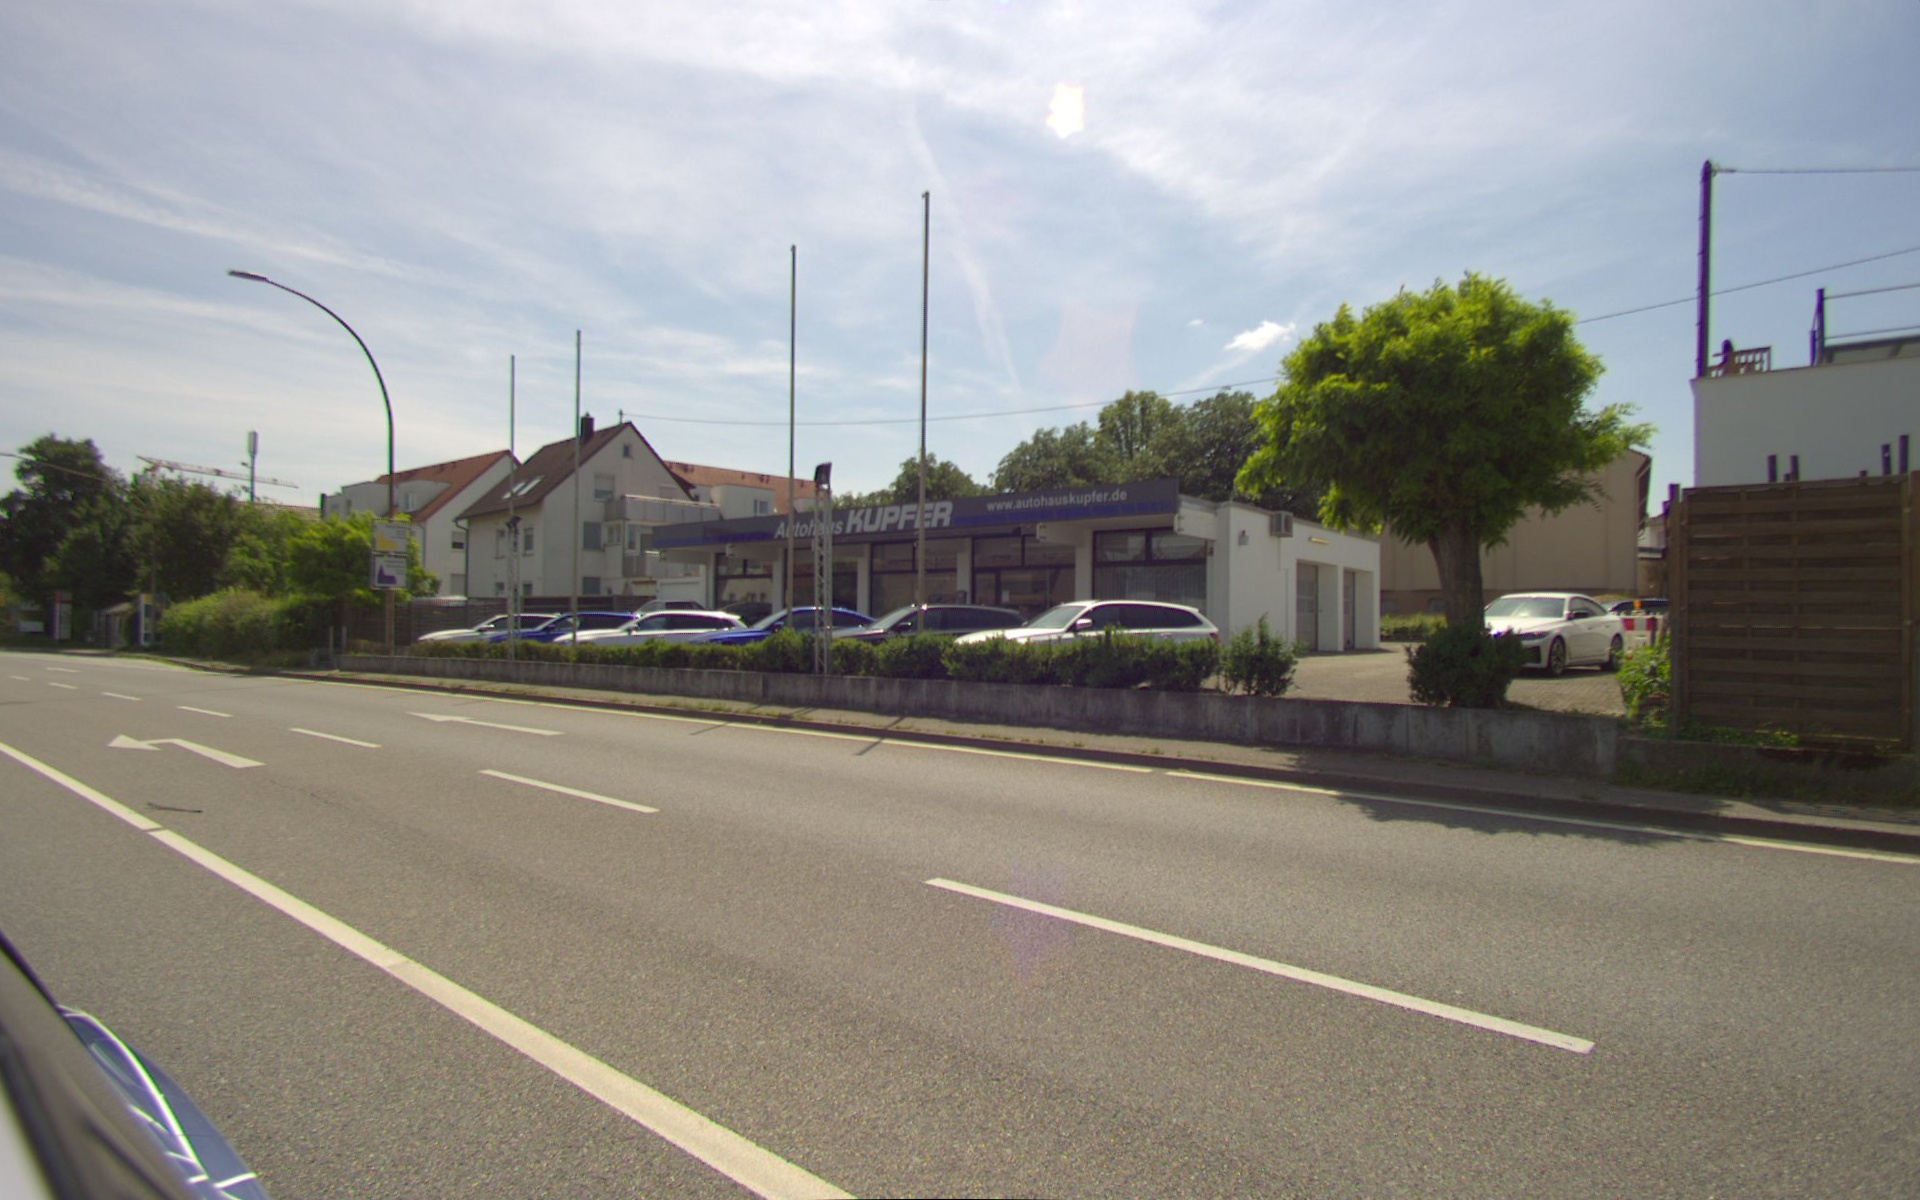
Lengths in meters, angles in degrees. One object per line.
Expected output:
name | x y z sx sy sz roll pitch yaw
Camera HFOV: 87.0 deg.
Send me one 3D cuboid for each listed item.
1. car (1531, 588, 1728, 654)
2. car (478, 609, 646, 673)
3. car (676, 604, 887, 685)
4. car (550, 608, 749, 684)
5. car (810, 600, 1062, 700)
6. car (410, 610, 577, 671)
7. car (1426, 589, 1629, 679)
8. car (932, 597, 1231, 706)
car | 17.284 0.525 26.202 3.935 1.529 1.948 -1 0 -10
car | -10.392 1.027 26.513 3.931 1.475 2.007 -1 0 -22
car | -3.705 0.858 20.941 3.931 1.453 1.860 -1 0 -24
car | -7.247 1.020 23.569 4.239 1.530 2.006 -1 0 -21
car | -0.433 0.840 18.510 4.187 1.557 1.857 -1 0 -26
car | -13.331 1.110 29.156 4.192 1.541 2.007 -1 0 -22
car | 10.377 0.559 18.417 3.936 1.451 1.886 0 0 -39
car | 1.908 0.733 15.831 4.264 1.471 1.861 -1 -1 -24
